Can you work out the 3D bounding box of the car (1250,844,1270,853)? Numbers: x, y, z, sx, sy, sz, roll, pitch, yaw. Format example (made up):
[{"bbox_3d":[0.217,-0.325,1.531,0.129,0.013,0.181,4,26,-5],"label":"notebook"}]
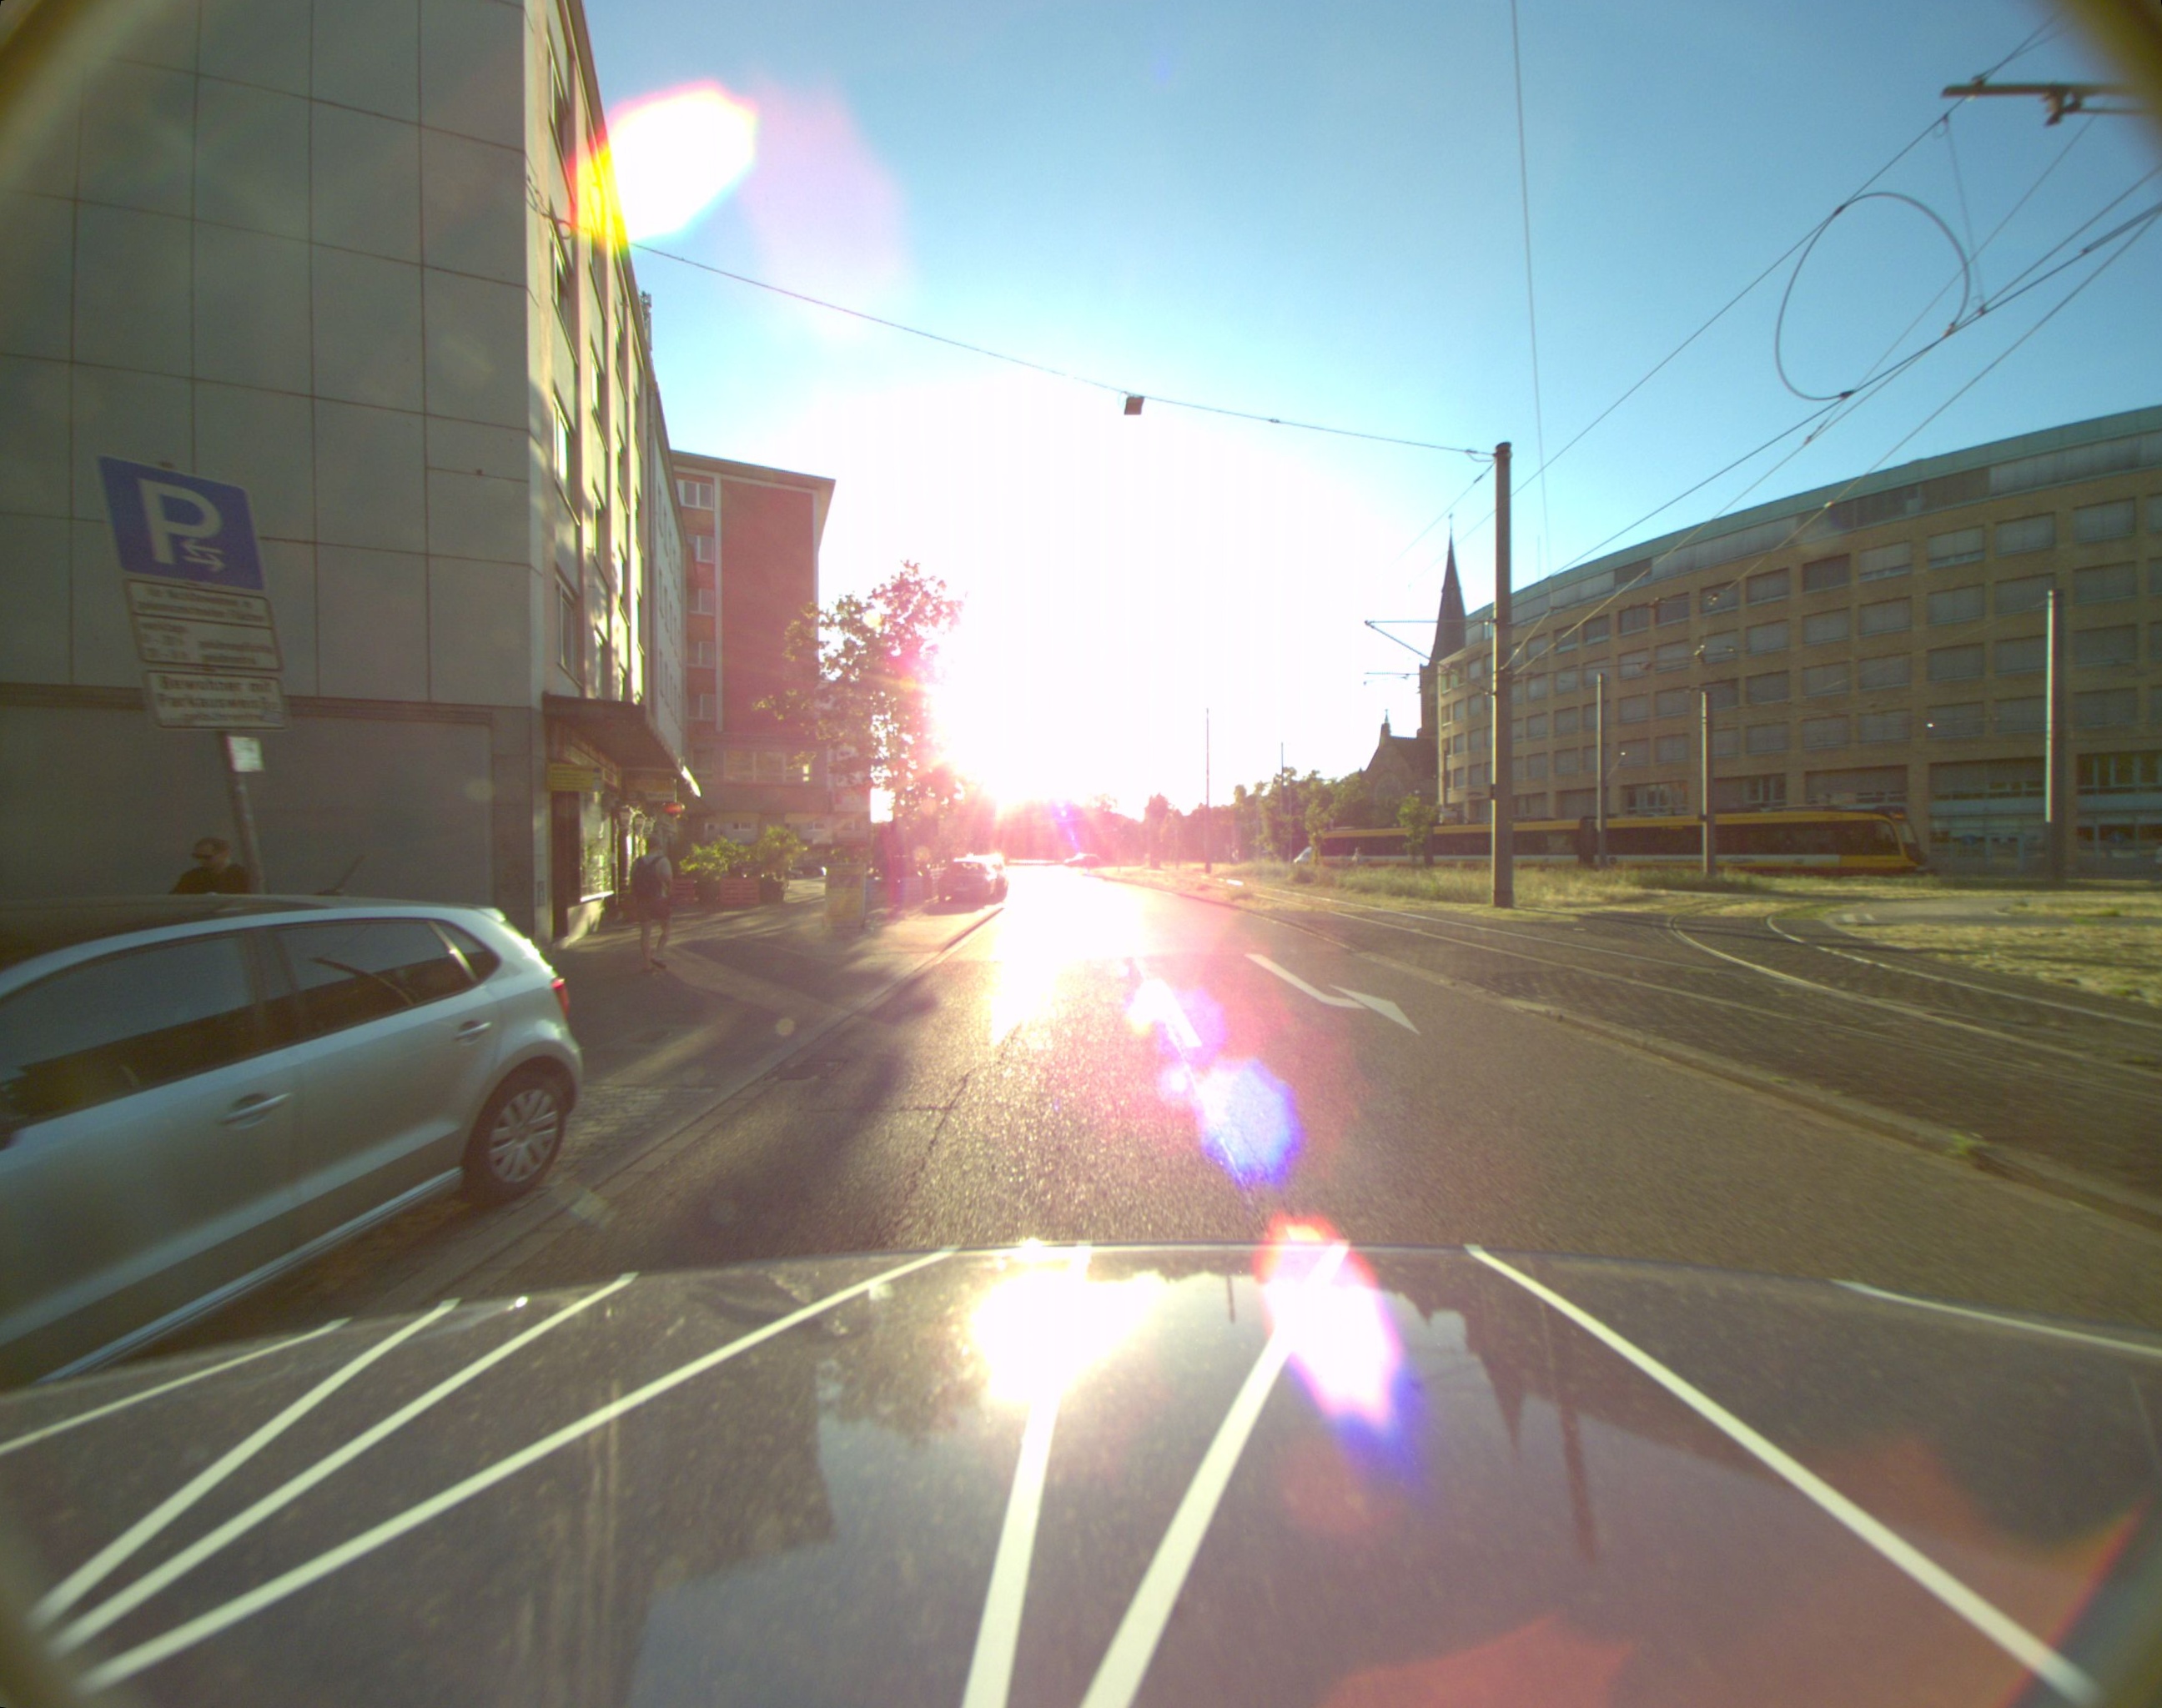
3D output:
[{"bbox_3d":[43.166,-1.323,183.111,4.120,1.811,2.004,-2,0,40],"label":"car"}]

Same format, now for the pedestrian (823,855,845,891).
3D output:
[{"bbox_3d":[-12.253,0.935,37.646,0.896,1.715,0.772,0,0,-31],"label":"pedestrian"}]

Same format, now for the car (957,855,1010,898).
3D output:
[{"bbox_3d":[-4.089,0.908,32.549,1.809,1.660,4.811,-2,0,-3],"label":"car"}]

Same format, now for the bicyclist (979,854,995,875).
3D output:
[{"bbox_3d":[-6.734,0.756,54.437,0.799,1.472,0.805,-2,1,-30],"label":"bicyclist"}]

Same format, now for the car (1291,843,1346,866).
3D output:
[{"bbox_3d":[31.811,0.068,101.616,7.210,2.861,2.304,-1,0,-22],"label":"car"}]

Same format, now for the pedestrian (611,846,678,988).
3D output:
[{"bbox_3d":[-5.746,0.794,10.043,0.641,1.775,0.855,-1,0,-23],"label":"pedestrian"}]

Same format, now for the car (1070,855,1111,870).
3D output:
[{"bbox_3d":[1.056,0.923,82.585,3.992,1.533,2.002,-2,0,17],"label":"car"}]

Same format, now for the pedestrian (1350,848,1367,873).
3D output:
[{"bbox_3d":[16.120,0.372,44.139,0.672,1.450,0.699,-2,1,-4],"label":"pedestrian"}]

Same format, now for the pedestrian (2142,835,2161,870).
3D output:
[{"bbox_3d":[52.311,-0.056,36.981,0.532,1.683,0.617,-2,1,-17],"label":"pedestrian"}]

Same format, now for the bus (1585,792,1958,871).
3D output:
[{"bbox_3d":[34.243,-0.917,39.073,3.766,3.343,13.683,-2,0,-28],"label":"bus"}]

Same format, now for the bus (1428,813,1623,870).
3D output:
[{"bbox_3d":[28.729,-0.727,49.973,3.765,3.312,10.715,-2,0,-25],"label":"bus"}]

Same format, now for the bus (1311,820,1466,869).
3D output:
[{"bbox_3d":[23.918,-0.636,60.303,3.765,3.435,12.108,-2,0,-24],"label":"bus"}]

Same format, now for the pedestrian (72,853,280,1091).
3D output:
[{"bbox_3d":[-6.747,0.816,5.725,0.641,1.618,0.855,-2,1,-23],"label":"pedestrian"}]

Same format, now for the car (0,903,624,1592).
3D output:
[{"bbox_3d":[-3.422,1.011,2.091,1.789,1.448,4.000,-1,1,2],"label":"car"}]

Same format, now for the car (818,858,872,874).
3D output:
[{"bbox_3d":[-23.410,1.178,75.461,5.047,1.428,1.875,0,1,-20],"label":"car"}]

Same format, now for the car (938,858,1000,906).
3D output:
[{"bbox_3d":[-3.966,0.957,27.382,1.655,1.525,4.066,-2,0,-1],"label":"car"}]

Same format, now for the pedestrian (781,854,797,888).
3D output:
[{"bbox_3d":[-14.926,0.871,38.876,0.657,1.714,0.875,-2,1,-25],"label":"pedestrian"}]
